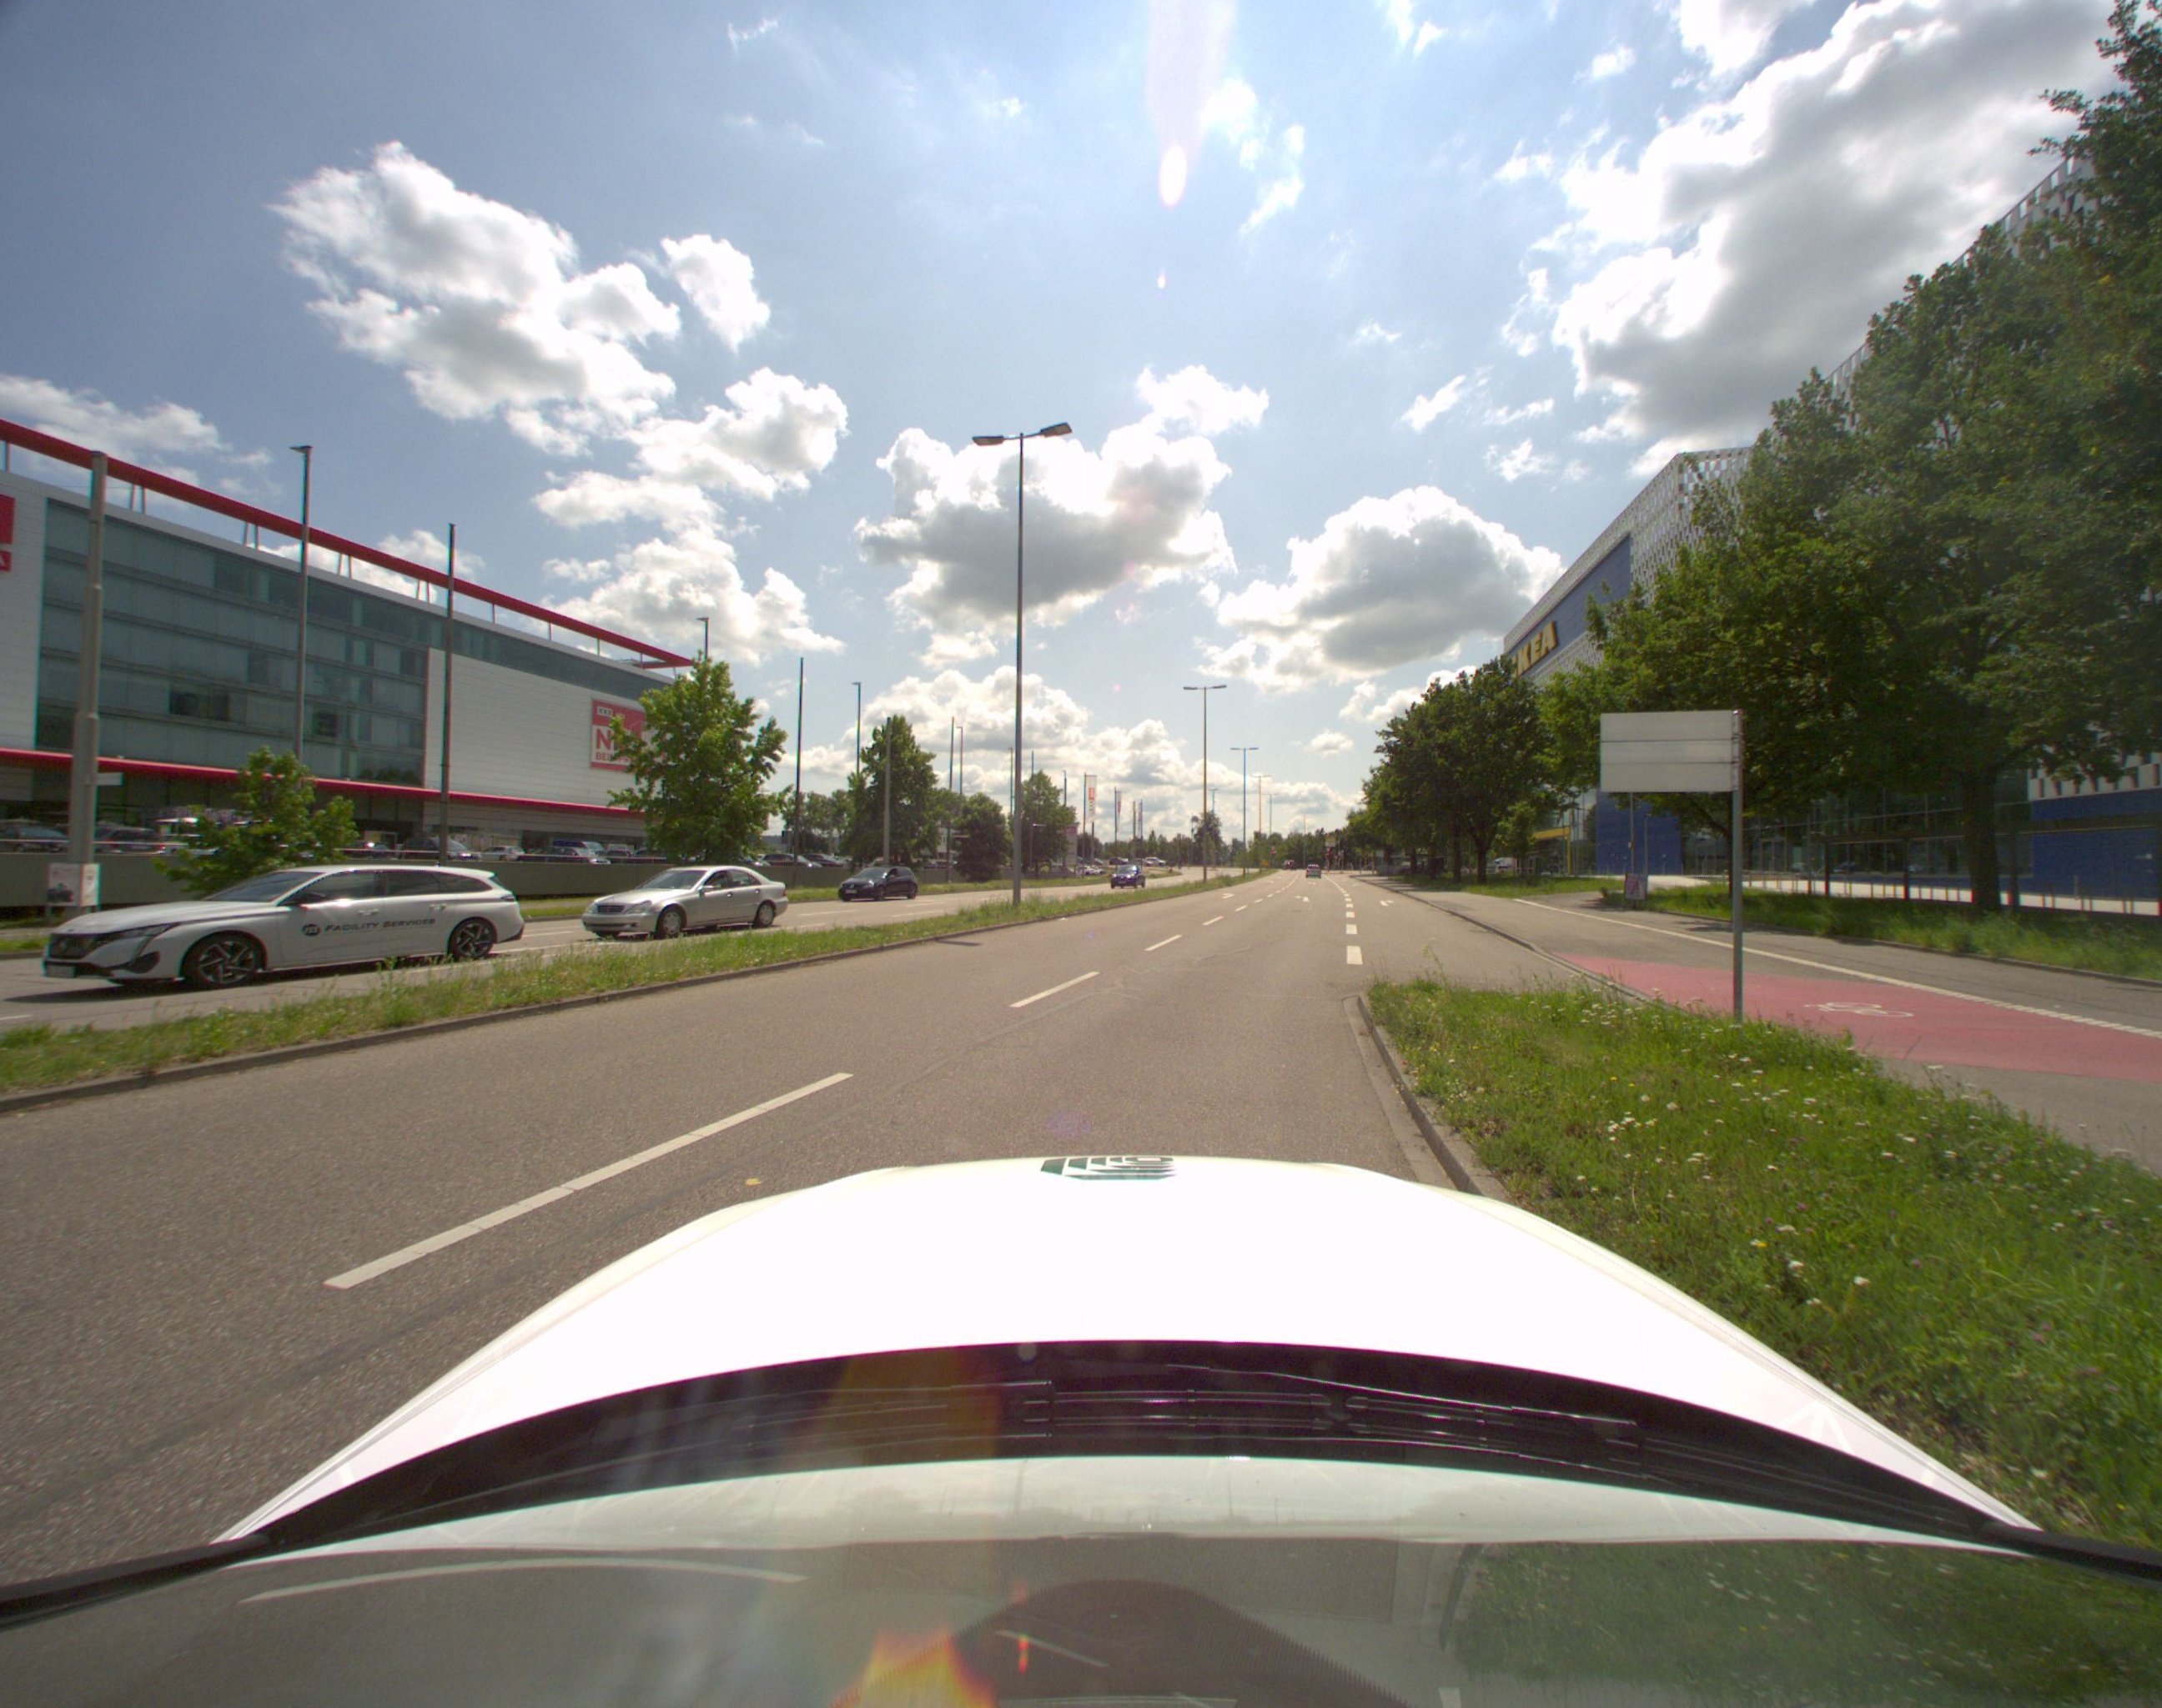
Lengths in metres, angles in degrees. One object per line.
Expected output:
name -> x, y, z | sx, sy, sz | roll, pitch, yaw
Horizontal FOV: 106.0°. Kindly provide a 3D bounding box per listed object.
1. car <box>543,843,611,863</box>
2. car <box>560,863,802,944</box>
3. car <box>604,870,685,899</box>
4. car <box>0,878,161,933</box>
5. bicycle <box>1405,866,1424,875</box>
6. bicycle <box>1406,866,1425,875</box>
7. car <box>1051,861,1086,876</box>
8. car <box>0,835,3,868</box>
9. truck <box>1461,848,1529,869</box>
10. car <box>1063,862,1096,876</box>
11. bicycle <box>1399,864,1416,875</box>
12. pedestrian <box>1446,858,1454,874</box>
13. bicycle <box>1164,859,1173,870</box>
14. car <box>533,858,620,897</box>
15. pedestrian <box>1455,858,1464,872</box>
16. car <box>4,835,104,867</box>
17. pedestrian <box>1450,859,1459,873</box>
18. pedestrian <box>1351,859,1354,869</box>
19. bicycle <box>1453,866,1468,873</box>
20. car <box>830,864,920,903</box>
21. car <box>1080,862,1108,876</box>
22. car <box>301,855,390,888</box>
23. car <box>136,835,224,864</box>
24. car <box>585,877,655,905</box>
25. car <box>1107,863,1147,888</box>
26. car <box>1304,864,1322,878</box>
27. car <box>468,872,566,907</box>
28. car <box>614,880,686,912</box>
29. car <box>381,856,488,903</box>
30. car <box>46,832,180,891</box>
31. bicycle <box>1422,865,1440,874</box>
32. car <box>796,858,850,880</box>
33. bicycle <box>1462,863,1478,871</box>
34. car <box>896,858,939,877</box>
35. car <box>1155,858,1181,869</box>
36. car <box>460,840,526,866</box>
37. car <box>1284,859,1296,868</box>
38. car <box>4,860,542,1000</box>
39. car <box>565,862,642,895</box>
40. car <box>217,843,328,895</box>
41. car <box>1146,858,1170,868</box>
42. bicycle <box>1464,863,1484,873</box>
car -> -45.239, -0.082, 73.124 | 5.080, 1.778, 2.207 | -1, -1, 14
car -> -8.189, 0.930, 17.249 | 1.777, 1.418, 4.697 | -1, 0, 19
car -> -24.952, 1.716, 46.620 | 3.955, 1.596, 1.854 | -1, -1, 18
car -> -32.006, 1.602, 26.074 | 3.955, 1.596, 1.927 | -1, -1, 18
bicycle -> 37.840, 1.849, 92.385 | 1.850, 0.995, 0.425 | -2, -1, 10
bicycle -> 37.741, 1.840, 91.903 | 1.850, 0.995, 0.425 | -2, -1, 10
car -> -1.657, 1.968, 110.779 | 4.317, 1.989, 2.008 | 0, -1, 14
car -> -50.227, -0.112, 36.021 | 3.790, 1.470, 1.864 | -1, -1, 17
truck -> 83.685, 0.972, 164.887 | 11.868, 4.105, 2.964 | 0, 0, 15
car -> -0.218, 2.148, 117.917 | 4.317, 1.989, 2.008 | 0, -1, 14
bicycle -> 38.405, 1.827, 95.809 | 1.881, 1.170, 0.425 | -1, -1, 16
pedestrian -> 41.042, 1.348, 90.494 | 0.527, 1.722, 0.627 | 2, -3, -39
bicycle -> 12.558, 1.491, 116.702 | 1.010, 1.675, 2.057 | -1, -1, 16
car -> -30.511, 1.408, 49.277 | 4.317, 2.329, 2.008 | 0, -1, 14
pedestrian -> 53.754, 1.579, 115.616 | 0.998, 2.072, 0.980 | 0, -2, 29
car -> -49.024, -0.115, 38.876 | 3.788, 1.470, 1.865 | -1, -1, 20
pedestrian -> 52.908, 1.709, 115.325 | 0.998, 1.902, 0.980 | 0, -3, 29
pedestrian -> 50.082, 1.811, 150.075 | 0.518, 1.721, 0.734 | -1, -1, 19
bicycle -> 50.484, 2.079, 108.331 | 1.847, 0.995, 0.426 | -1, -1, 17
car -> -8.453, 1.184, 33.814 | 1.606, 1.470, 4.136 | -1, 0, 19
car -> 1.971, 2.240, 121.798 | 3.968, 2.014, 2.003 | 0, -1, 5
car -> -45.559, 1.055, 50.449 | 4.317, 1.989, 2.008 | 0, -1, 14
car -> -47.933, -0.232, 43.340 | 3.791, 1.470, 1.688 | -1, -1, 17
car -> -34.541, 2.762, 61.077 | 4.317, 1.989, 2.008 | 0, -1, 14
car -> 3.036, 1.373, 53.069 | 1.725, 1.475, 3.693 | 0, 1, 18
car -> 26.912, 1.906, 94.601 | 1.881, 1.469, 3.848 | 2, 0, 14
car -> -27.303, 1.675, 39.417 | 3.955, 1.596, 1.858 | -1, -1, 18
car -> -28.896, 2.773, 54.613 | 3.958, 2.014, 2.008 | -1, -1, 15
car -> -32.929, 1.274, 41.523 | 4.317, 2.329, 2.008 | 0, -1, 14
car -> -39.983, 0.327, 33.674 | 4.314, 2.329, 2.009 | 0, -1, 17
bicycle -> 40.948, 1.834, 95.312 | 1.850, 0.995, 0.425 | -2, -2, 10
car -> -23.696, 1.390, 74.940 | 4.317, 1.989, 2.008 | 0, -1, 14
bicycle -> 49.880, 1.655, 104.436 | 1.850, 0.995, 0.466 | 0, -1, 11
car -> -18.436, 1.524, 91.901 | 4.317, 1.989, 2.008 | 1, -1, 14
car -> 15.890, 1.814, 148.480 | 4.317, 1.989, 2.008 | 0, -1, 14
car -> -47.578, -0.082, 65.904 | 4.317, 1.989, 2.008 | -1, -1, 14
car -> 37.177, 1.700, 144.768 | 1.882, 1.469, 3.846 | 2, 0, 12
car -> -10.229, 0.827, 10.999 | 1.777, 1.402, 4.867 | -2, 0, 17
car -> -30.435, 1.553, 51.898 | 3.958, 2.014, 2.008 | -1, -1, 15
car -> -38.097, 0.696, 38.391 | 4.312, 2.329, 2.010 | 0, -1, 20
car -> 14.815, 1.687, 156.054 | 4.317, 1.989, 2.008 | 0, -1, 14
bicycle -> 47.828, 1.731, 99.149 | 2.120, 1.229, 0.725 | -1, -1, 25
